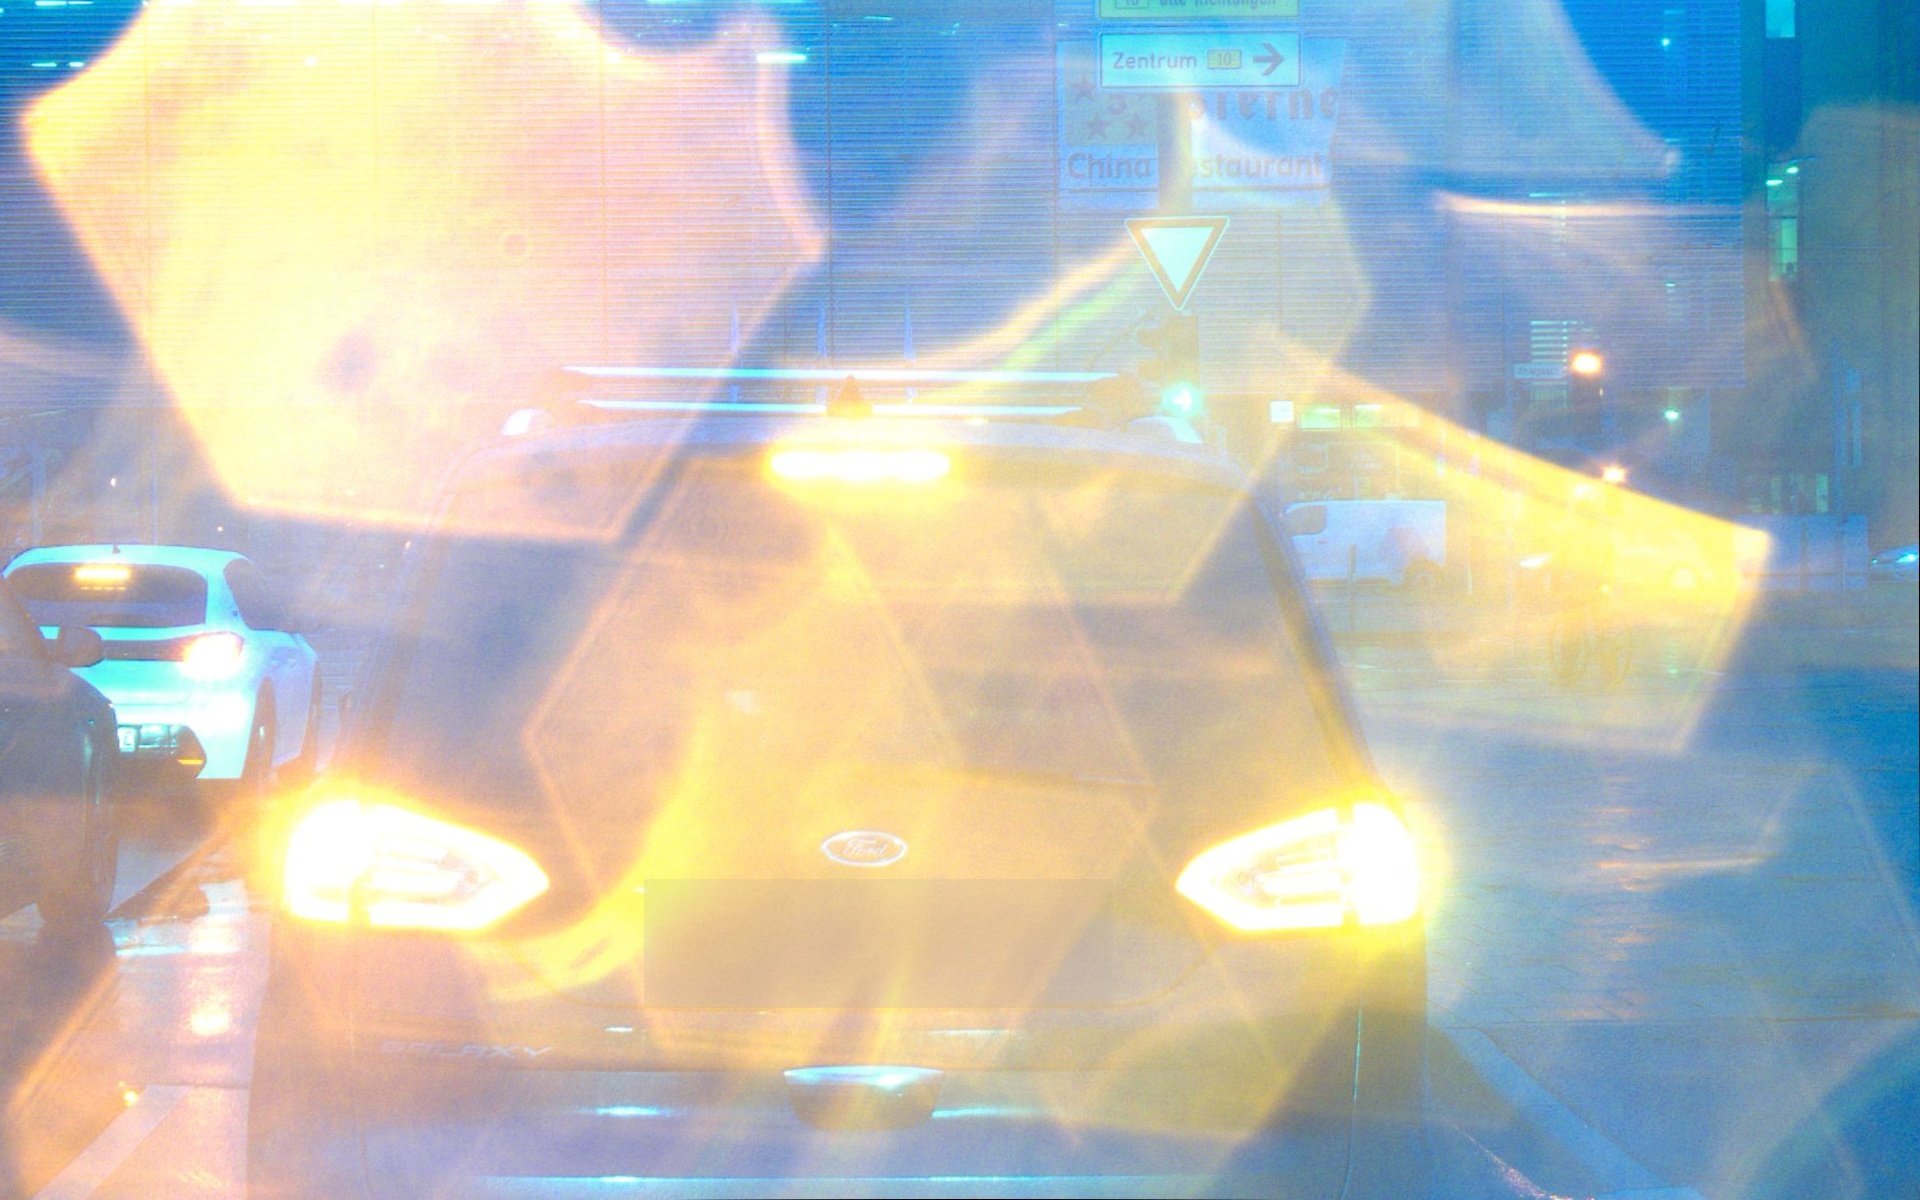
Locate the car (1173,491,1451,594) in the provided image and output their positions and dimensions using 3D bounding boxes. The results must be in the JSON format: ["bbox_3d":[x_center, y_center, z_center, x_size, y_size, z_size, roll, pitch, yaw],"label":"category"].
[{"bbox_3d":[6.665,-1.103,65.369,4.945,1.865,1.905,-1,1,-6],"label":"car"}]

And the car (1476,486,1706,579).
[{"bbox_3d":[13.219,-1.418,72.122,4.358,1.865,1.905,-1,1,-6],"label":"car"}]

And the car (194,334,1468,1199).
[{"bbox_3d":[-0.199,0.503,6.557,1.674,1.773,4.000,-1,1,-1],"label":"car"}]

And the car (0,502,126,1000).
[{"bbox_3d":[-4.029,0.466,11.582,1.820,1.564,4.363,-1,1,-7],"label":"car"}]

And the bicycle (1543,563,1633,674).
[{"bbox_3d":[5.799,0.160,31.818,0.655,0.970,1.866,-1,1,5],"label":"bicycle"}]

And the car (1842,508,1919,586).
[{"bbox_3d":[19.676,-1.060,67.225,4.326,1.481,1.867,-1,1,-6],"label":"car"}]

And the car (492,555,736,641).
[{"bbox_3d":[-5.958,-0.053,59.645,1.643,1.381,4.467,0,1,36],"label":"car"}]

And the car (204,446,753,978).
[{"bbox_3d":[-1.842,0.326,13.994,1.843,1.800,4.488,-1,1,-5],"label":"car"}]

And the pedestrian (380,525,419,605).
[{"bbox_3d":[-12.670,-0.790,77.713,0.787,1.781,0.733,-1,1,-5],"label":"pedestrian"}]

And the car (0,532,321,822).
[{"bbox_3d":[-4.635,0.348,19.272,1.758,1.458,3.918,0,1,-6],"label":"car"}]

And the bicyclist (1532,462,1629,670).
[{"bbox_3d":[5.722,-0.318,31.750,0.791,1.884,0.989,-1,1,5],"label":"bicyclist"}]
